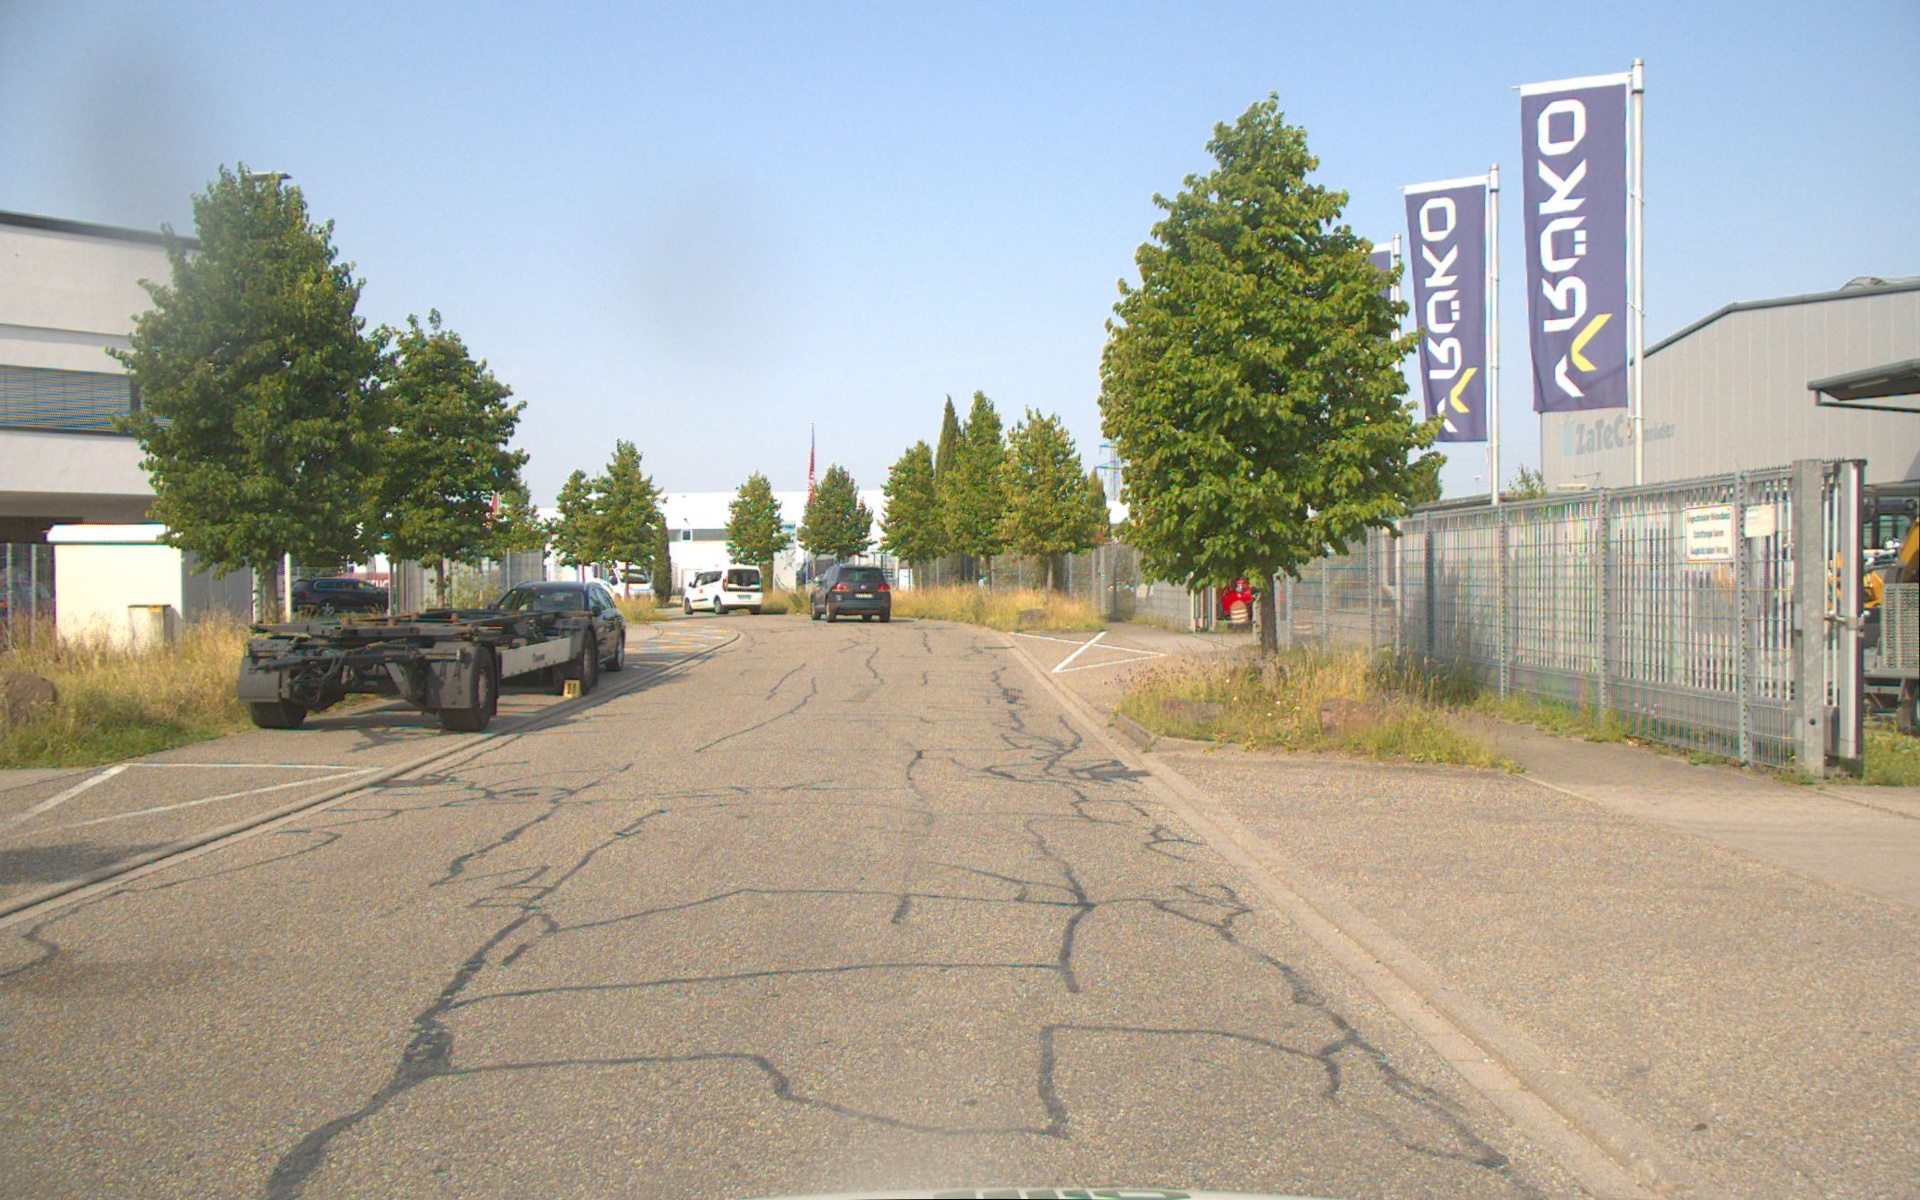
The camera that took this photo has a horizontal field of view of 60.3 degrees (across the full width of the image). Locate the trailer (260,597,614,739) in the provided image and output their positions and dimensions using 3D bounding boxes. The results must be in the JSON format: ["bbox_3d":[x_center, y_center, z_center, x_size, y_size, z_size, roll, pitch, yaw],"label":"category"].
[{"bbox_3d":[-6.049,0.684,20.338,2.086,1.254,7.157,1,1,0],"label":"trailer"}]

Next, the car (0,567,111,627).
[{"bbox_3d":[-24.232,-0.086,43.881,3.932,1.513,1.857,0,1,44],"label":"car"}]

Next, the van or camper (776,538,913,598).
[{"bbox_3d":[-6.194,-1.714,88.289,7.122,3.085,2.581,-1,0,-8],"label":"van or camper"}]

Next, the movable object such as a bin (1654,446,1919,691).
[{"bbox_3d":[11.118,-0.412,21.633,1.848,2.800,5.159,-1,1,-1],"label":"movable object such as a bin"}]

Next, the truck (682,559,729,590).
[{"bbox_3d":[-19.363,-1.958,126.332,2.400,2.304,8.001,0,1,-1],"label":"truck"}]

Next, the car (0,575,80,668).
[{"bbox_3d":[-17.716,0.376,29.848,1.736,1.551,4.299,-1,2,-7],"label":"car"}]

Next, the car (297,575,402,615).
[{"bbox_3d":[-23.492,-0.188,63.720,1.567,1.479,3.485,0,0,40],"label":"car"}]

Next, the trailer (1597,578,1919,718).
[{"bbox_3d":[8.707,0.421,17.780,1.905,1.265,4.292,-1,1,-3],"label":"trailer"}]

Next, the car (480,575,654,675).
[{"bbox_3d":[-6.562,0.360,28.125,1.953,1.492,4.432,1,1,-1],"label":"car"}]

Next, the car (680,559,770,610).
[{"bbox_3d":[-9.271,-0.619,65.048,1.973,1.932,4.422,-1,1,-30],"label":"car"}]

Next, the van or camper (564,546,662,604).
[{"bbox_3d":[-18.644,-1.331,88.547,2.315,2.995,6.874,-1,1,-39],"label":"van or camper"}]

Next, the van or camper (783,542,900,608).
[{"bbox_3d":[-5.597,-1.132,76.815,2.327,2.897,7.261,-1,1,-32],"label":"van or camper"}]

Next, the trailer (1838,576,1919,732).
[{"bbox_3d":[9.179,0.450,13.141,1.953,1.333,4.563,-1,0,0],"label":"trailer"}]

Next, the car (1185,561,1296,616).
[{"bbox_3d":[7.555,-0.346,45.049,1.844,1.381,4.769,-1,1,-5],"label":"car"}]

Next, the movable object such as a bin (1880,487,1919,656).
[{"bbox_3d":[15.814,-0.428,23.141,2.863,2.535,5.338,-1,1,-1],"label":"movable object such as a bin"}]

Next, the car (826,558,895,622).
[{"bbox_3d":[-3.047,-0.337,50.030,1.955,1.836,3.996,1,1,-5],"label":"car"}]

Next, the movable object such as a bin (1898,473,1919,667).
[{"bbox_3d":[13.272,-0.365,19.410,1.951,2.501,4.766,-1,1,2],"label":"movable object such as a bin"}]

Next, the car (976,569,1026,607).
[{"bbox_3d":[1.856,-0.558,75.743,1.689,1.672,3.994,1,1,-7],"label":"car"}]
